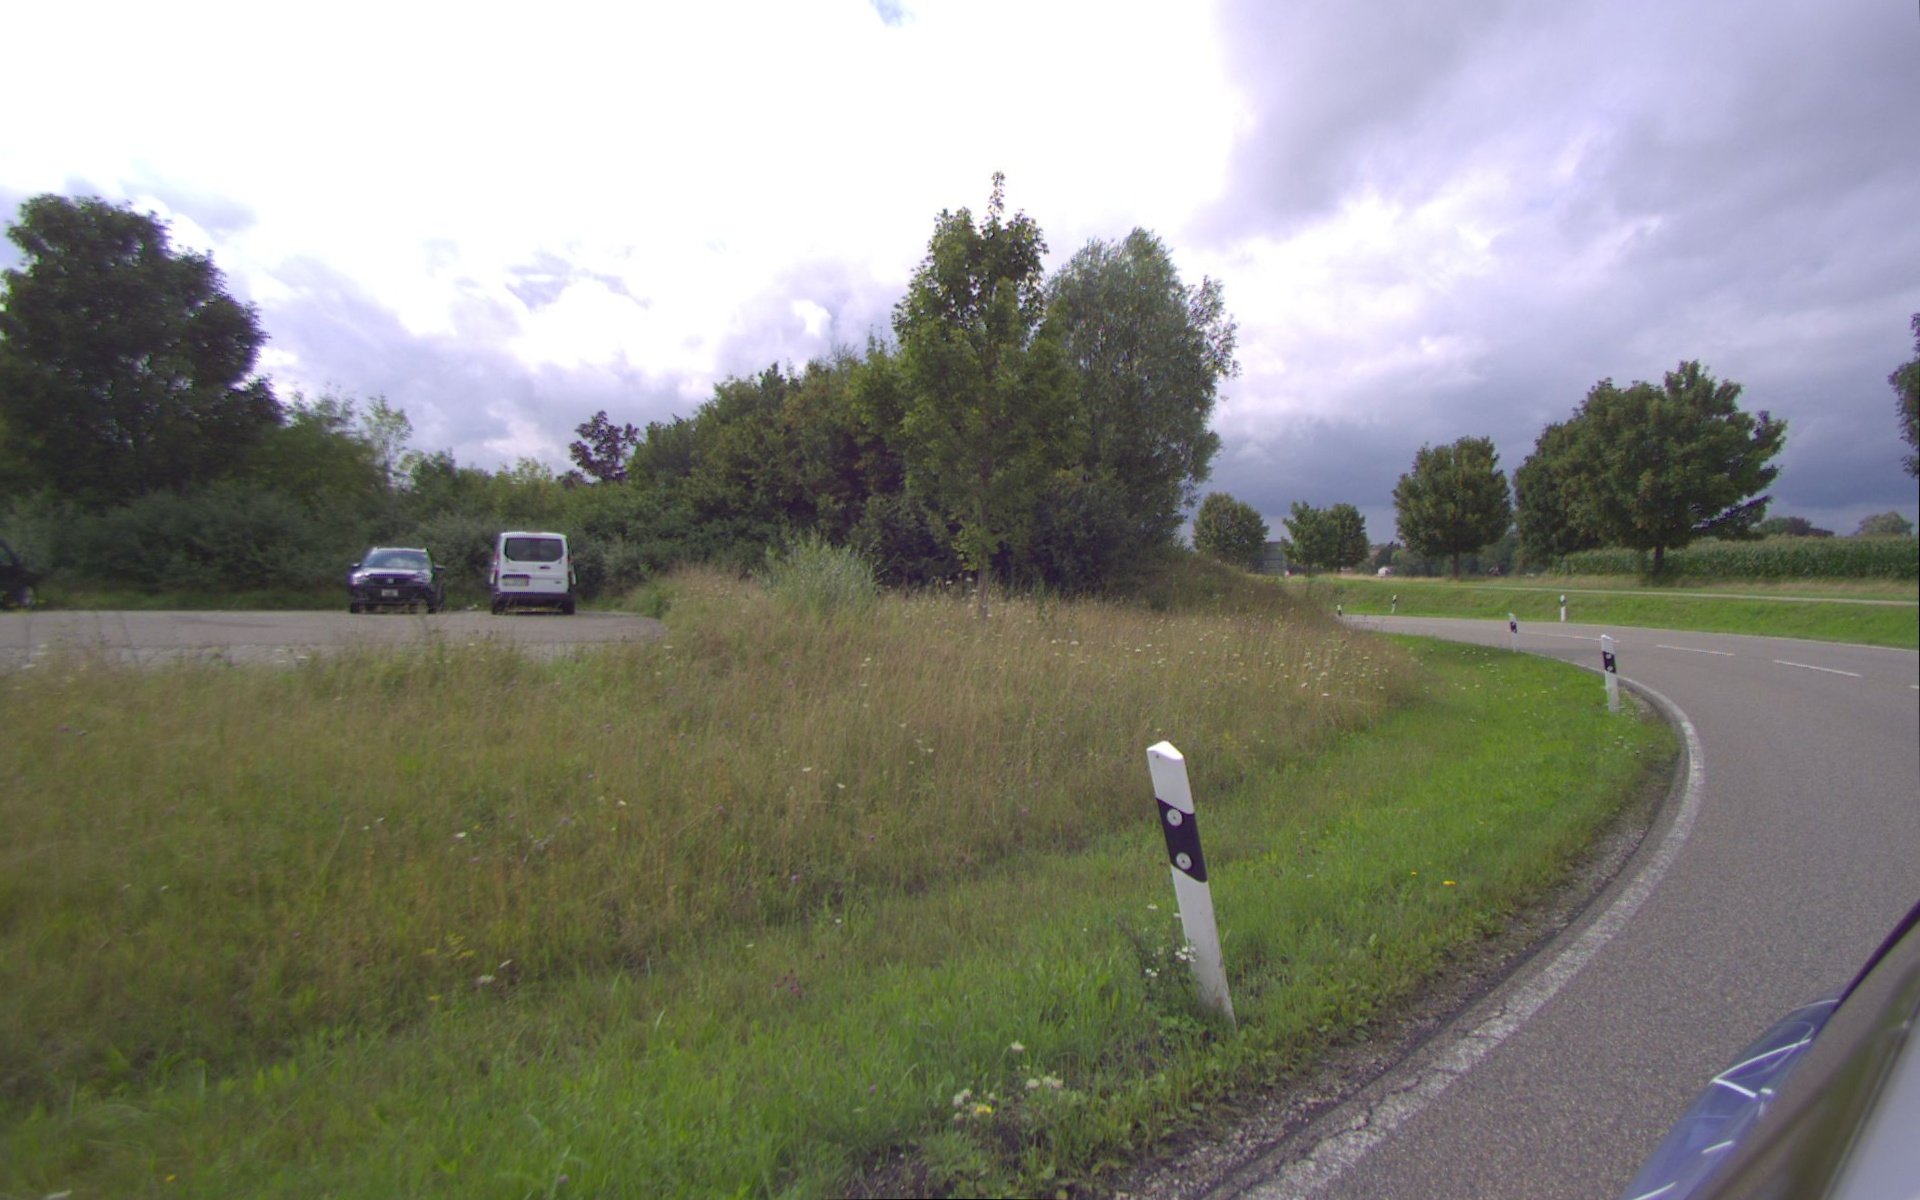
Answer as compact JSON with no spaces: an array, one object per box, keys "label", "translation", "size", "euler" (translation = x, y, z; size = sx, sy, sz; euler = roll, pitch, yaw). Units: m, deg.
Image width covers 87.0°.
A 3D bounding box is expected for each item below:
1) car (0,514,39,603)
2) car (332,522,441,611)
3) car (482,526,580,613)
[{"label":"car","translation":[-21.133,-0.855,20.880],"size":[1.958,1.882,4.009],"euler":[-1,3,-24]},{"label":"car","translation":[-13.230,-0.801,23.570],"size":[1.708,1.882,4.009],"euler":[-1,3,-22]},{"label":"car","translation":[-10.200,-0.758,24.155],"size":[1.958,1.882,4.009],"euler":[-1,3,-22]}]
